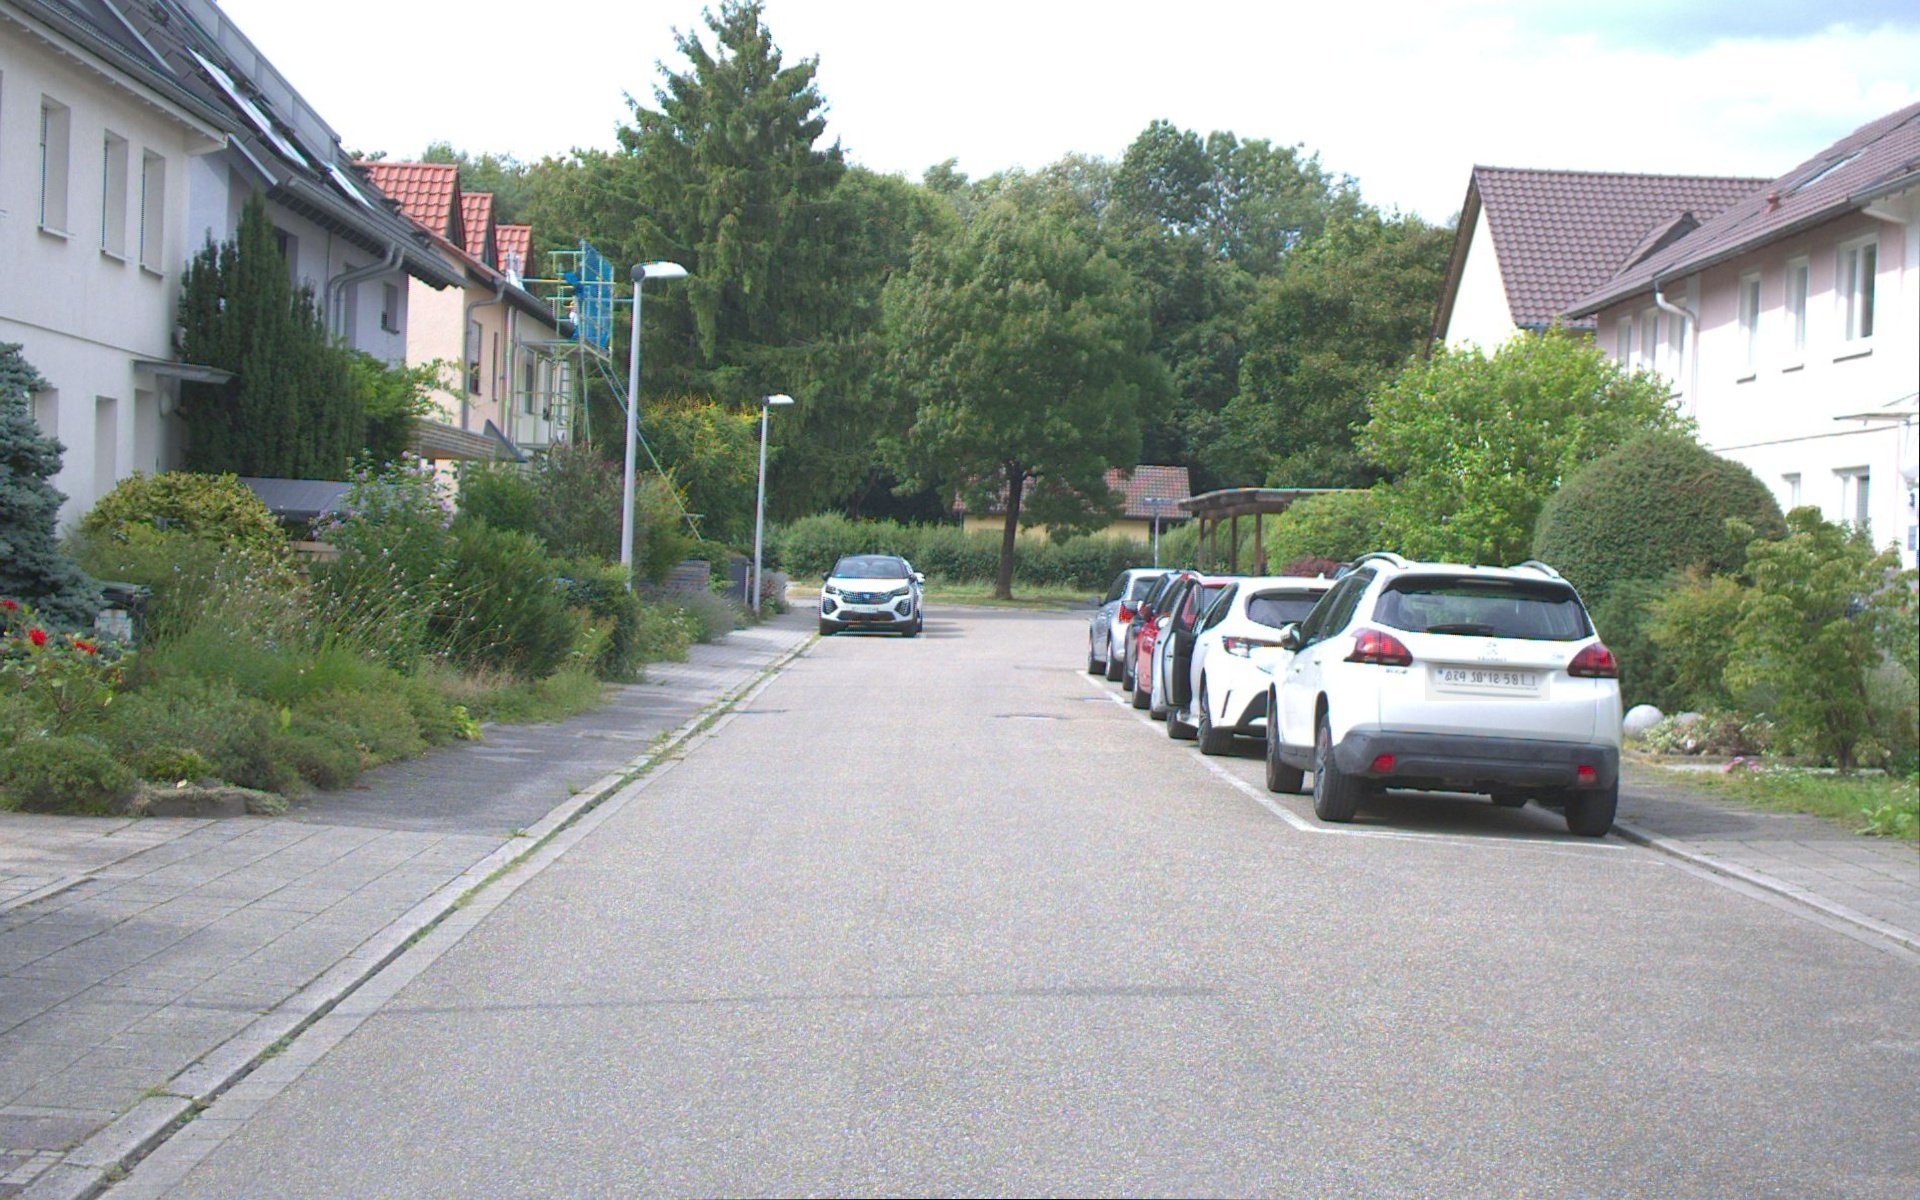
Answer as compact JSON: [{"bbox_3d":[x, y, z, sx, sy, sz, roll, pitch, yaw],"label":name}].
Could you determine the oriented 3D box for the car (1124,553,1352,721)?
[{"bbox_3d":[2.696,0.310,34.297,1.773,1.431,4.826,4,1,0],"label":"car"}]

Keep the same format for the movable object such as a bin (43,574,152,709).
[{"bbox_3d":[-6.617,0.312,26.381,0.675,1.004,0.598,1,1,0],"label":"movable object such as a bin"}]

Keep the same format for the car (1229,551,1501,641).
[{"bbox_3d":[7.074,-0.077,60.343,4.449,1.428,2.027,1,1,-2],"label":"car"}]

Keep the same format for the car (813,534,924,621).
[{"bbox_3d":[-1.706,-0.451,65.532,1.934,1.551,4.634,1,1,0],"label":"car"}]

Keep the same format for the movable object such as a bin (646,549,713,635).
[{"bbox_3d":[-4.371,-0.130,53.670,0.949,1.307,1.001,1,1,-1],"label":"movable object such as a bin"}]

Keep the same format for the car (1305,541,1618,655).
[{"bbox_3d":[7.313,-0.044,50.436,4.270,1.555,1.935,1,1,0],"label":"car"}]

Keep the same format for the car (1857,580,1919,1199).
[{"bbox_3d":[3.119,0.744,6.183,1.900,1.454,4.129,1,1,0],"label":"car"}]

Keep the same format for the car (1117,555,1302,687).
[{"bbox_3d":[2.780,0.201,39.131,1.773,1.351,4.265,1,1,0],"label":"car"}]

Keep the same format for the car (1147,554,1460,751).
[{"bbox_3d":[2.725,0.366,28.281,1.838,1.408,4.637,1,1,-3],"label":"car"}]

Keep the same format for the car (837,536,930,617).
[{"bbox_3d":[-1.548,-0.506,70.931,1.810,1.557,4.848,1,1,-1],"label":"car"}]

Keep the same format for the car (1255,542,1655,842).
[{"bbox_3d":[2.907,0.475,21.000,1.713,1.538,3.974,4,1,-1],"label":"car"}]

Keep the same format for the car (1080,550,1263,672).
[{"bbox_3d":[2.692,0.104,44.629,1.864,1.412,4.253,2,1,-3],"label":"car"}]
